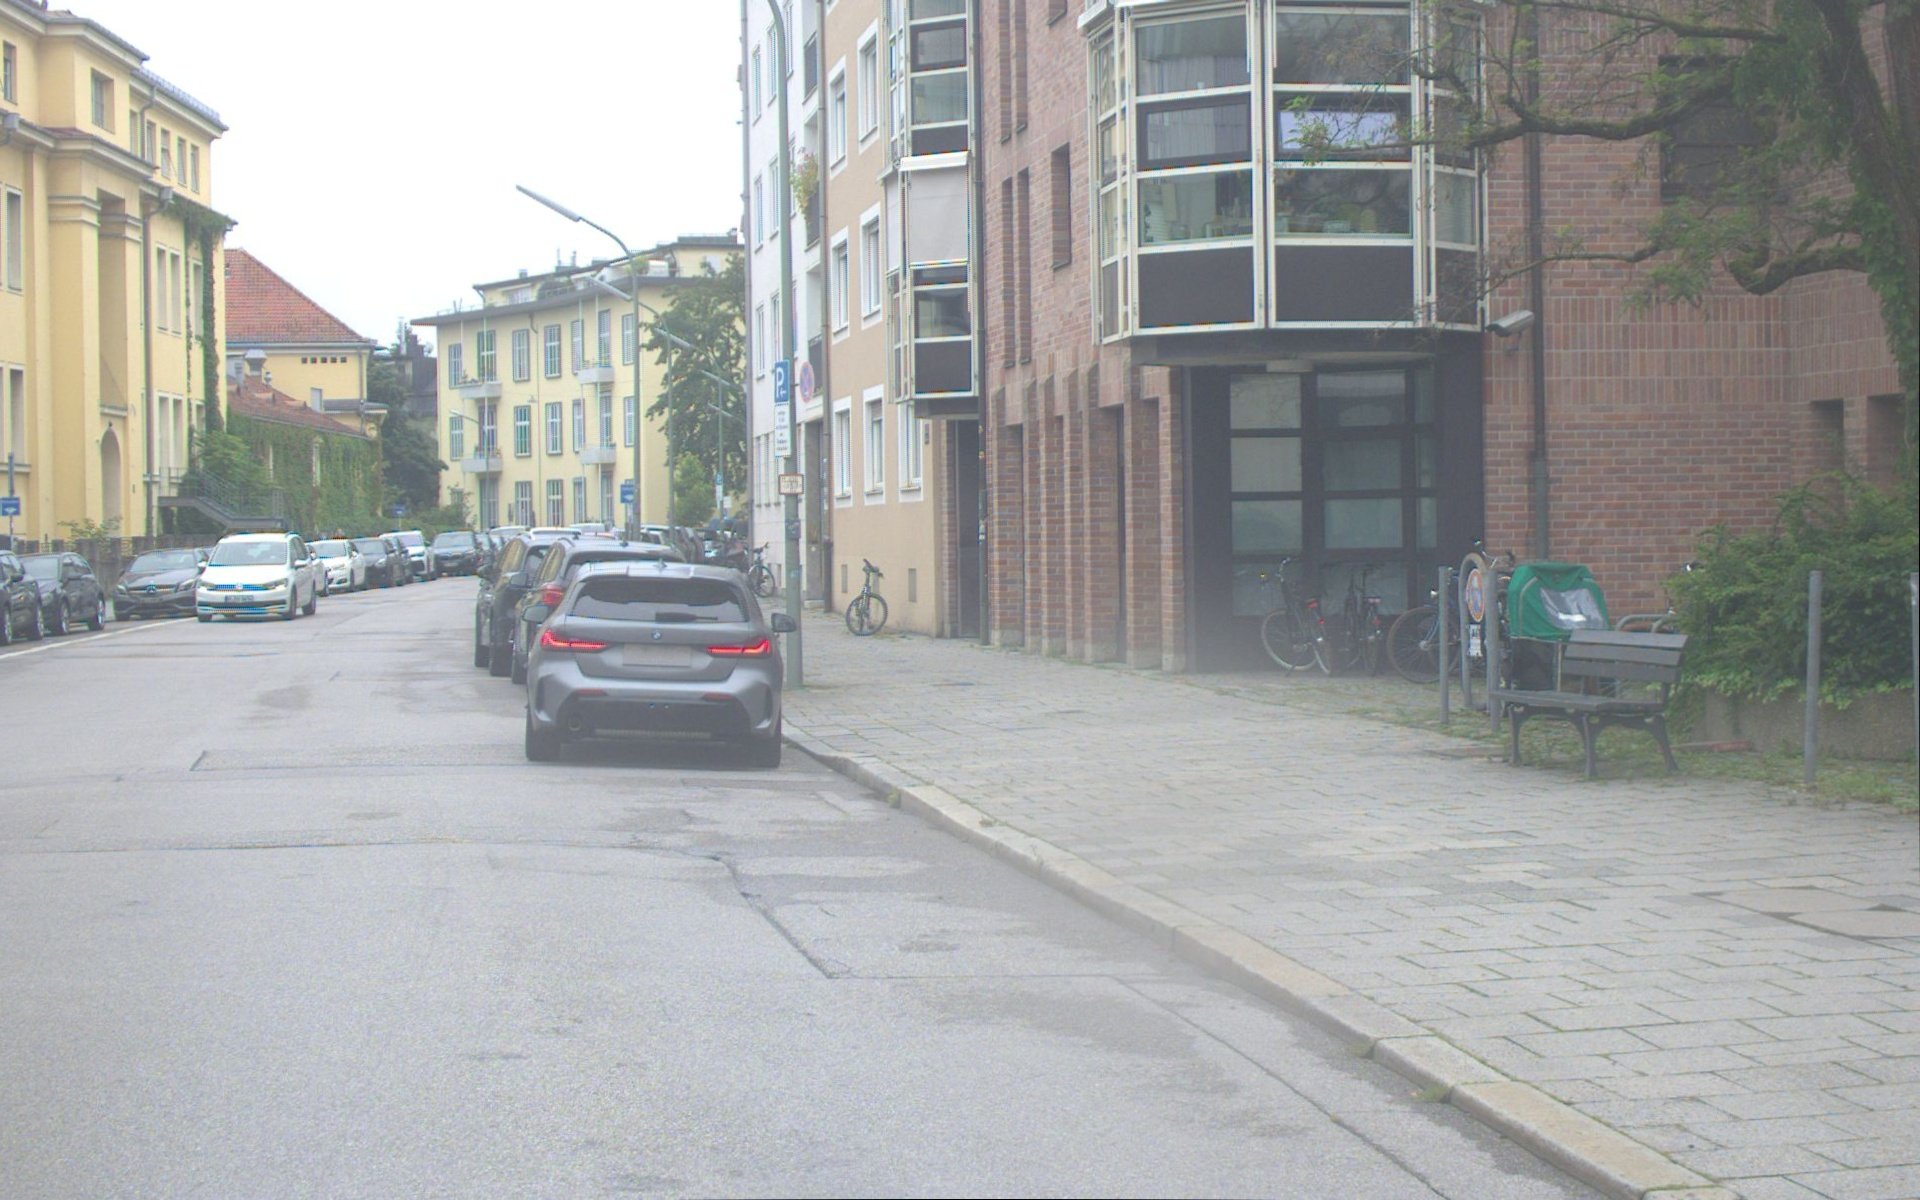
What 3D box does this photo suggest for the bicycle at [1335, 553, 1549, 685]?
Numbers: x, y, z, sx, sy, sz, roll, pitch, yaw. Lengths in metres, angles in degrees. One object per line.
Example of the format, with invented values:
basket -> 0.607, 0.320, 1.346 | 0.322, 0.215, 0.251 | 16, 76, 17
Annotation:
bicycle -> 4.389, 0.168, 31.345 | 1.848, 1.143, 0.488 | 1, 2, -1

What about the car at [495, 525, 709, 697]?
car -> -3.801, 0.064, 35.901 | 1.829, 1.596, 4.267 | 1, 2, -11

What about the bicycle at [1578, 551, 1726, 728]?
bicycle -> 4.767, 0.254, 23.634 | 0.421, 1.169, 1.358 | 3, 2, 37

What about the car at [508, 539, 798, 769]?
car -> -2.349, 0.333, 25.385 | 1.924, 1.507, 4.393 | 1, 1, -7

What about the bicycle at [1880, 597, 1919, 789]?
bicycle -> 5.737, 0.491, 17.952 | 1.700, 0.962, 0.546 | 1, 2, -7

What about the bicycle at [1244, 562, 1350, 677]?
bicycle -> 3.210, 0.171, 32.912 | 0.486, 1.056, 1.996 | 1, 0, -10

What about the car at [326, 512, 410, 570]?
car -> -17.108, -1.725, 99.492 | 1.993, 1.543, 4.001 | 1, 2, -5

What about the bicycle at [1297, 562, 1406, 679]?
bicycle -> 3.740, 0.180, 32.995 | 0.486, 1.056, 1.996 | 1, 1, -10

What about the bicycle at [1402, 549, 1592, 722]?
bicycle -> 4.010, 0.254, 25.873 | 0.534, 1.244, 2.414 | 1, 0, -13

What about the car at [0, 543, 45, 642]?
car -> -15.926, -0.154, 55.343 | 1.698, 1.448, 3.742 | 1, 2, -5

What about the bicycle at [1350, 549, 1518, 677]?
bicycle -> 4.378, 0.118, 31.795 | 1.476, 1.143, 0.383 | 1, 2, -1

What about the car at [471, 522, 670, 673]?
car -> -4.699, -0.076, 40.909 | 1.964, 1.596, 4.673 | 1, 2, -11

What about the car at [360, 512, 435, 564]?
car -> -17.842, -1.973, 109.107 | 1.993, 1.543, 4.001 | 1, 2, -5

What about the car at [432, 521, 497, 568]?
car -> -17.675, -1.993, 122.760 | 1.993, 1.543, 4.001 | 1, 2, -5

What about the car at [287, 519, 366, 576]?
car -> -17.263, -1.450, 93.815 | 1.697, 1.439, 3.509 | 1, 2, -3

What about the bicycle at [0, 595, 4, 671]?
bicycle -> -11.521, -0.113, 38.607 | 0.748, 2.006, 2.848 | -3, 2, -2

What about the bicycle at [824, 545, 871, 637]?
bicycle -> -1.701, -0.155, 51.812 | 0.468, 1.283, 2.675 | 1, 2, -6

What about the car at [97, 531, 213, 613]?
car -> -16.548, -0.590, 70.842 | 1.772, 1.545, 3.779 | 1, 2, -5

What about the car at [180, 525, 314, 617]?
car -> -13.626, -0.521, 65.940 | 2.025, 1.616, 4.506 | -3, 0, -6

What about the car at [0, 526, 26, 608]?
car -> -20.813, -0.694, 71.696 | 1.719, 1.655, 3.749 | 1, 2, -1

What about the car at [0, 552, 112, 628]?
car -> -16.146, -0.199, 60.445 | 1.528, 1.198, 3.741 | 1, 2, 0
